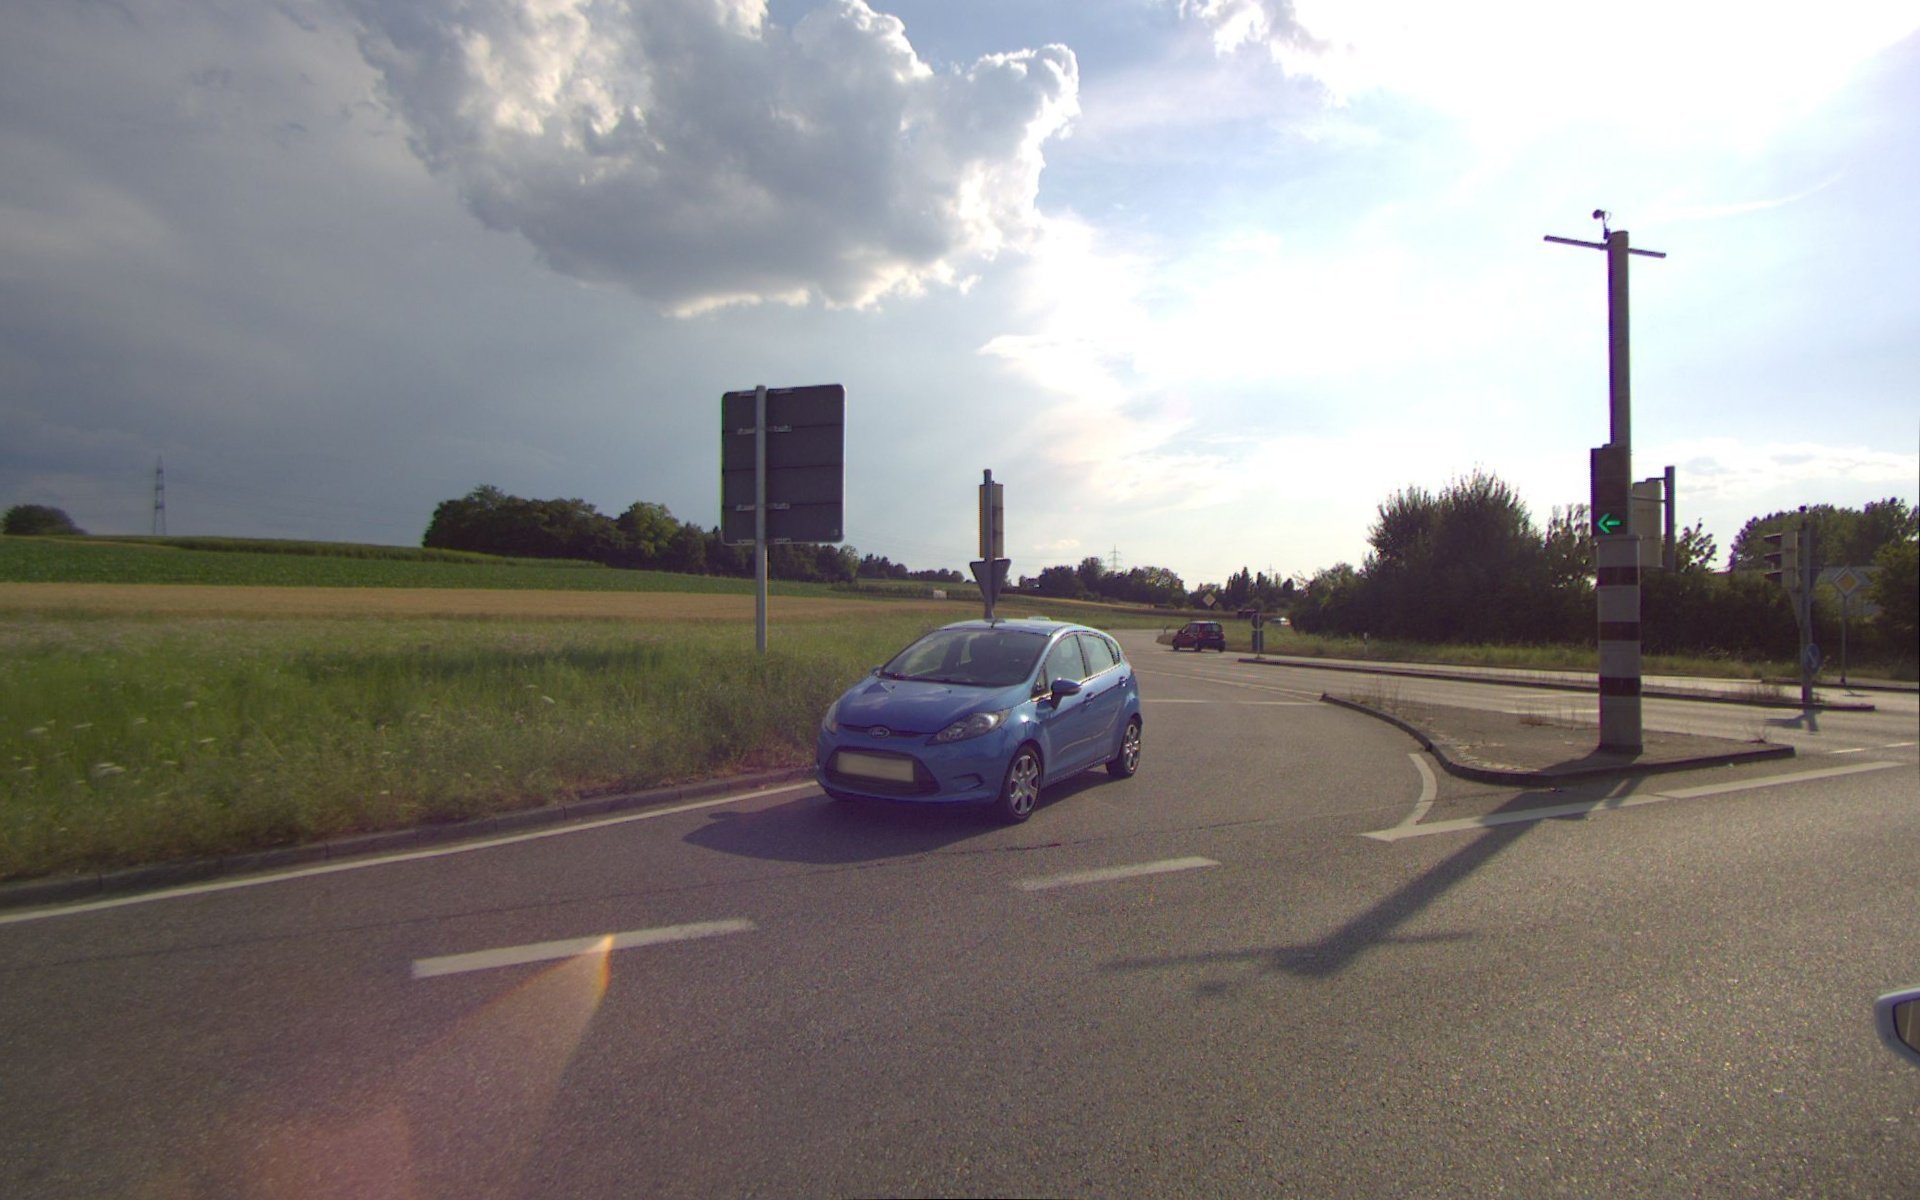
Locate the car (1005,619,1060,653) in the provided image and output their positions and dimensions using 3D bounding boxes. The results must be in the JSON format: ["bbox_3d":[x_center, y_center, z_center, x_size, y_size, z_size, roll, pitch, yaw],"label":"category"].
[{"bbox_3d":[3.918,1.974,55.287,1.789,1.549,4.341,2,1,-13],"label":"car"}]

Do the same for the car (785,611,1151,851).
[{"bbox_3d":[0.342,0.870,8.570,1.731,1.521,3.998,0,-1,23],"label":"car"}]

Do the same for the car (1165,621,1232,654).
[{"bbox_3d":[12.258,1.896,51.811,1.699,1.520,3.844,2,0,-15],"label":"car"}]
